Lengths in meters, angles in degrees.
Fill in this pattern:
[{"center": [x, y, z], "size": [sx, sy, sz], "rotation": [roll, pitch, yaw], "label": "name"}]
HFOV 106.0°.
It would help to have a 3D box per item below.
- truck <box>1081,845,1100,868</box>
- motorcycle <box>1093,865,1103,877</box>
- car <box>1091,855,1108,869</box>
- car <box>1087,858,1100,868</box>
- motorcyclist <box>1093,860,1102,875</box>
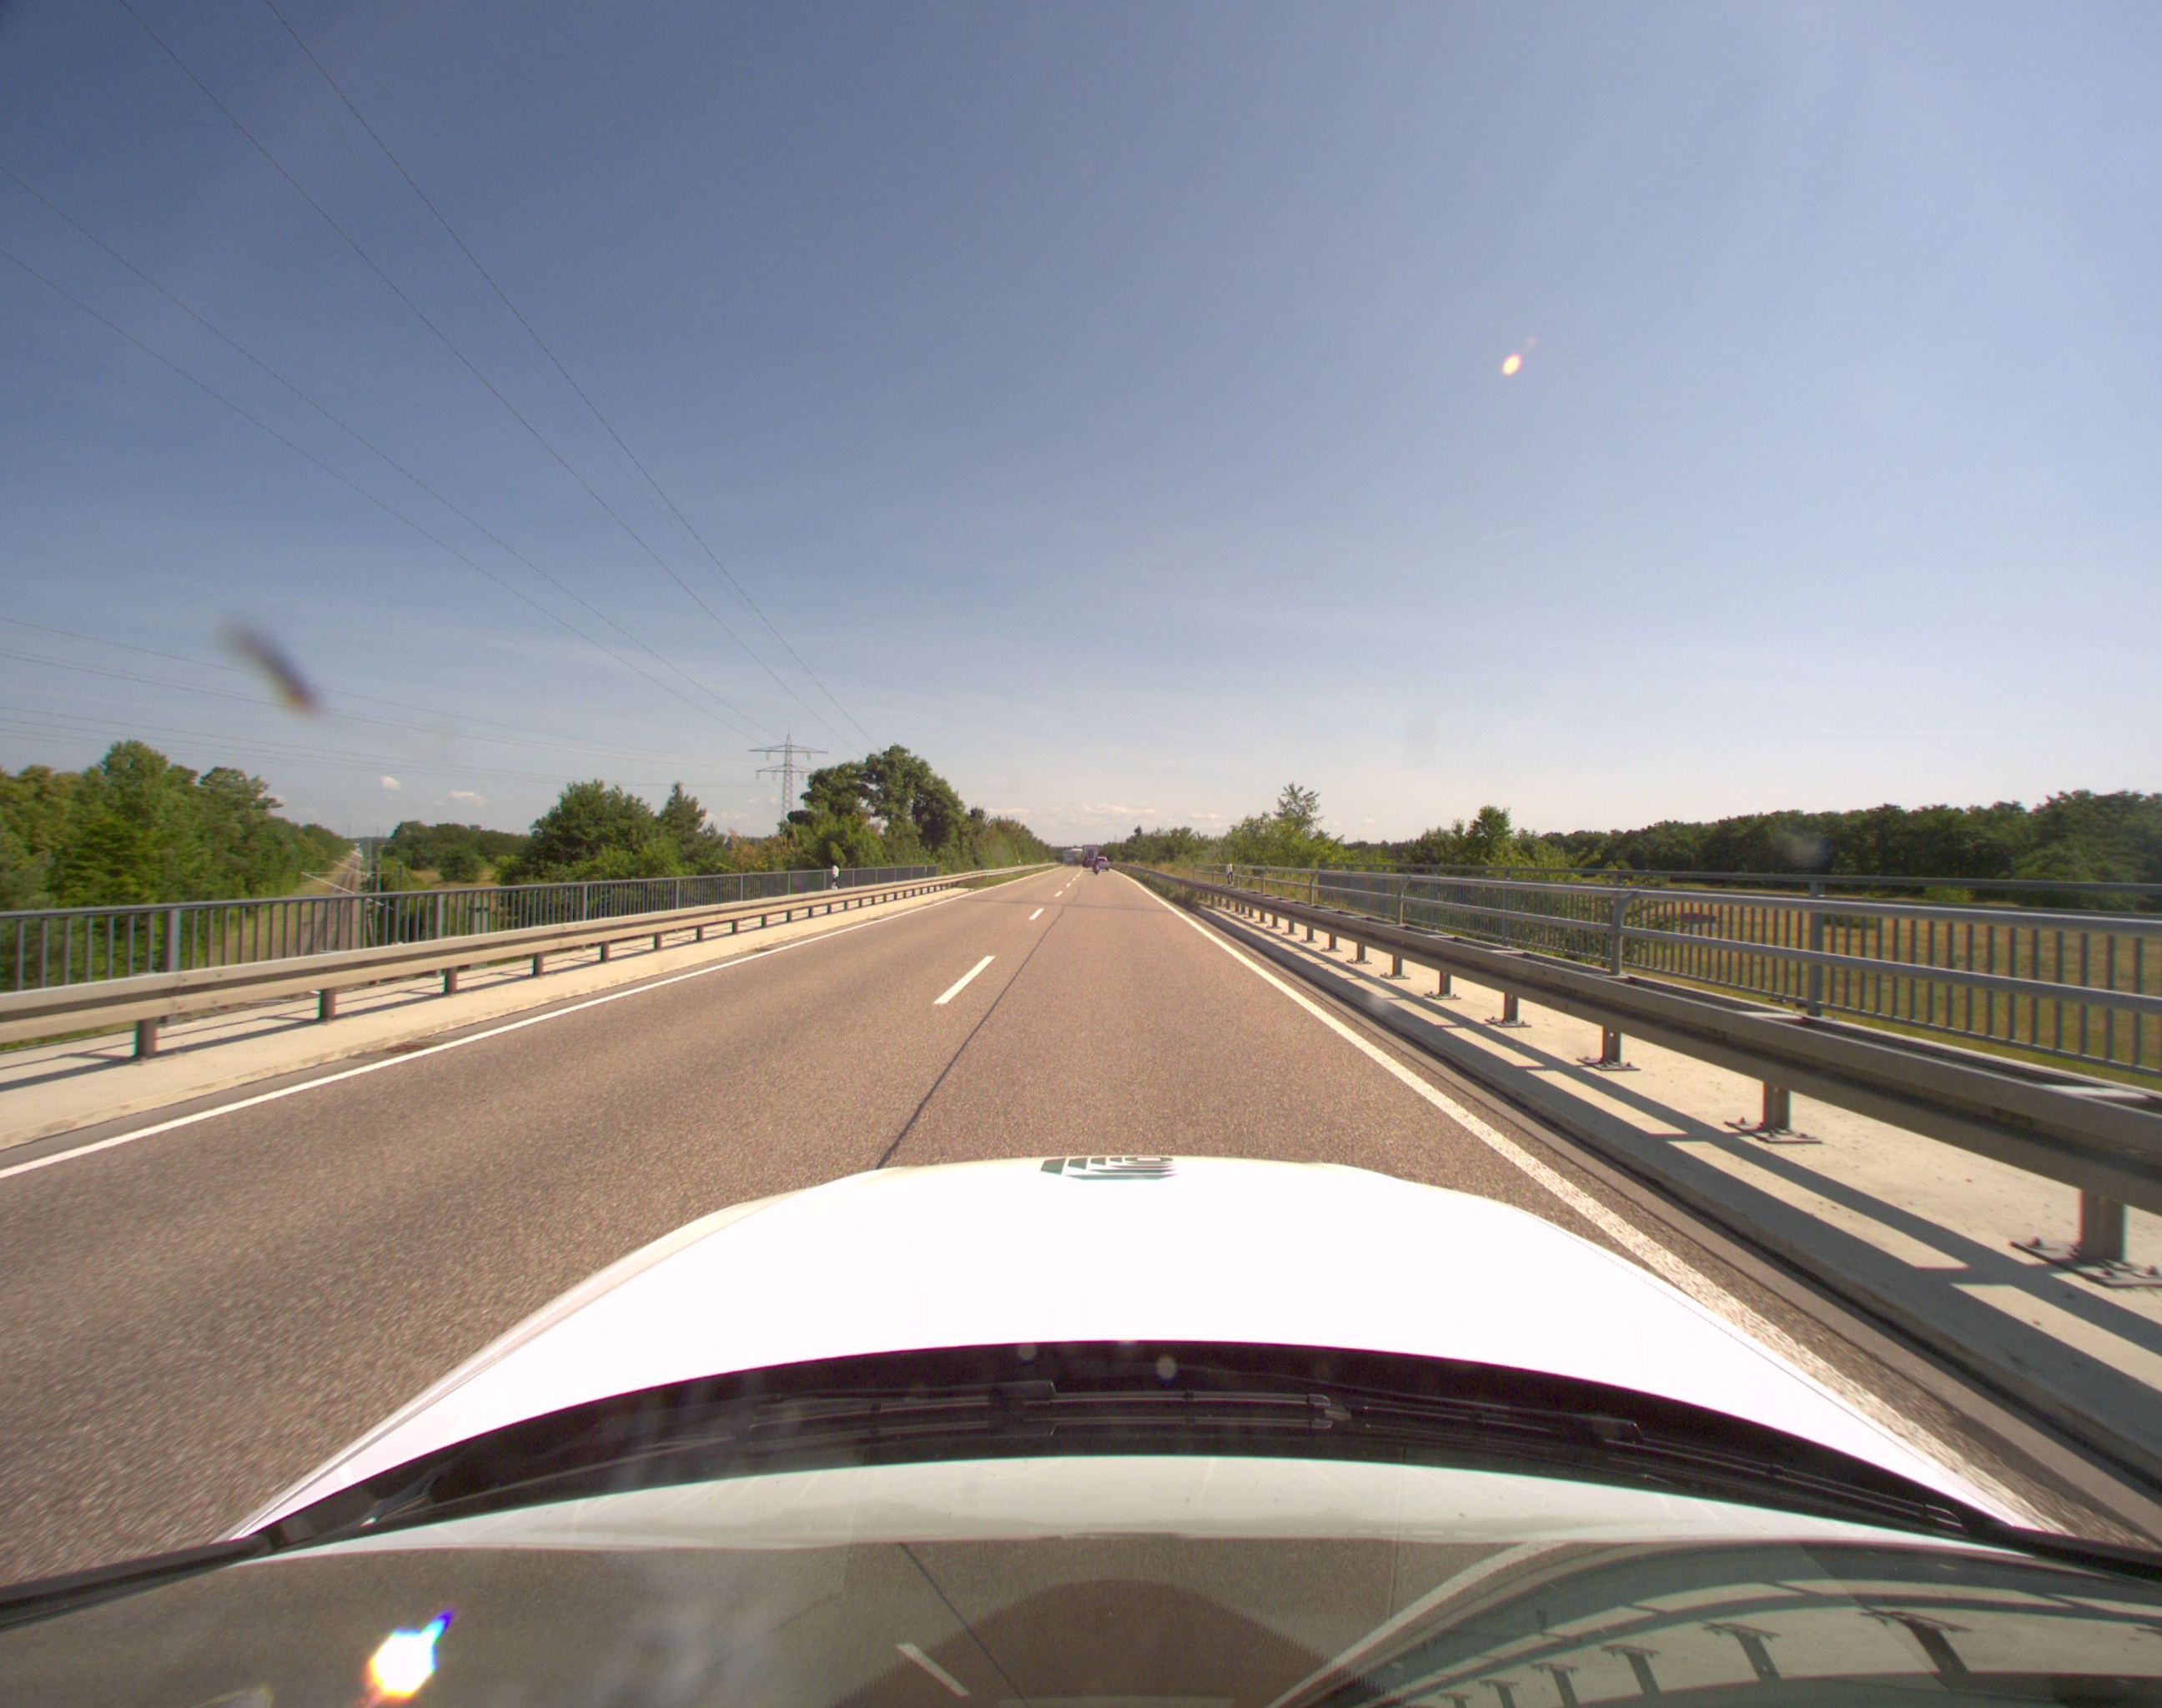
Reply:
[{"center": [1.736, 0.434, 150.668], "size": [3.232, 3.979, 9.440], "rotation": [0, 0, -1], "label": "truck"}, {"center": [1.468, 1.502, 71.838], "size": [0.777, 0.975, 2.364], "rotation": [0, 0, 3], "label": "motorcycle"}, {"center": [2.125, 0.903, 92.389], "size": [1.820, 1.451, 4.000], "rotation": [0, 0, 0], "label": "car"}, {"center": [1.880, 1.391, 123.721], "size": [1.858, 1.420, 4.003], "rotation": [0, 0, 3], "label": "car"}, {"center": [1.477, 1.164, 71.857], "size": [0.777, 1.325, 0.814], "rotation": [0, 0, 3], "label": "motorcyclist"}]
